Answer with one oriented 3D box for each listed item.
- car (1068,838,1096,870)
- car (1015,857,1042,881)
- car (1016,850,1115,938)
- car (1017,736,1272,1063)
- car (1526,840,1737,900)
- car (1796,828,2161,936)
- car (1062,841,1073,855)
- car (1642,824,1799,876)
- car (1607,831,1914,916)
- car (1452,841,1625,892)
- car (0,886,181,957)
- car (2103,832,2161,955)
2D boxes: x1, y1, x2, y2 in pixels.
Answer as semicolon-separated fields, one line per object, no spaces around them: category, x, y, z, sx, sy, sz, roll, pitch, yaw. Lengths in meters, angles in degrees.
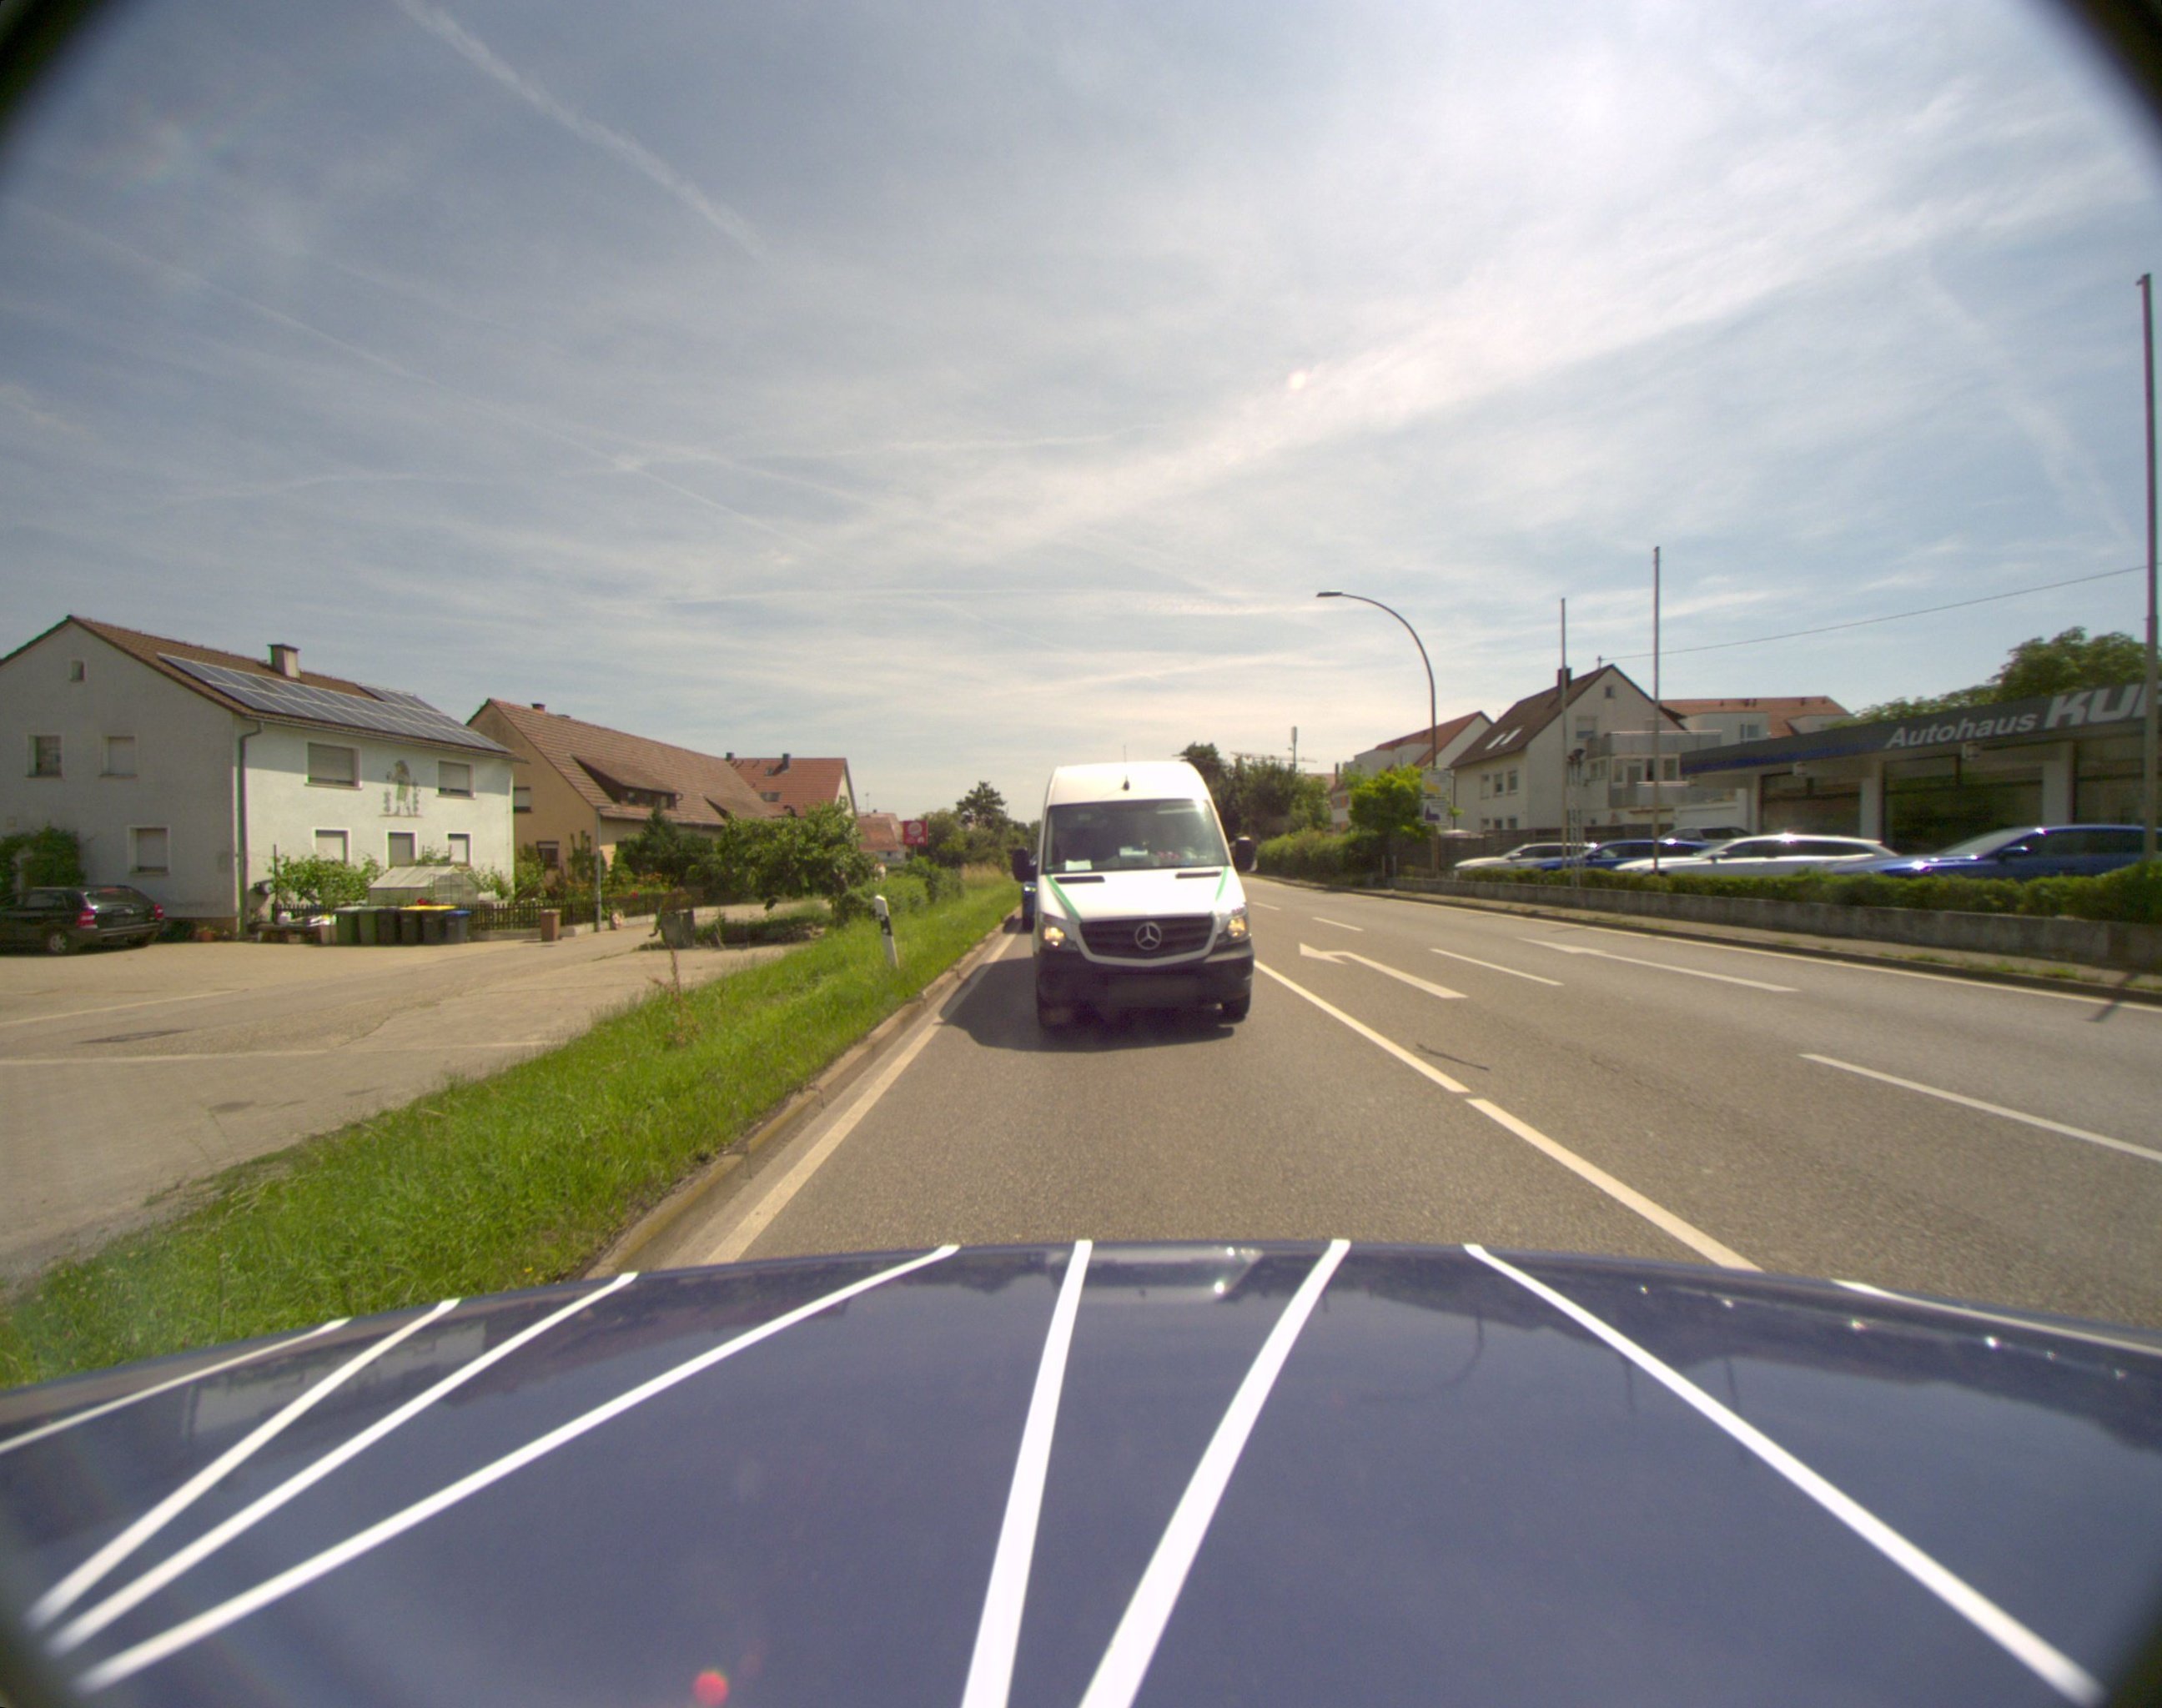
car;0.075;-0.023;41.971;1.423;1.650;3.088;-2;1;1
car;-3.660;1.042;53.238;1.636;1.476;3.551;-5;1;-2
car;-0.340;0.794;17.501;1.884;1.652;4.625;-4;0;-1
car;0.494;0.354;8.838;1.939;2.514;5.748;-2;0;0
car;14.477;0.437;20.329;4.331;1.439;1.860;-2;1;29
car;14.334;0.419;11.812;4.331;1.439;1.860;-2;1;26
car;-2.543;-1.130;146.013;1.999;2.573;3.999;-2;1;0
car;20.620;-0.138;24.782;1.807;1.456;4.585;-2;0;9
car;14.029;0.437;16.115;4.505;1.439;1.860;-4;0;30
car;14.456;0.420;24.285;4.568;1.439;1.860;-2;1;29
car;-26.860;1.751;20.112;3.957;1.683;1.844;0;1;3
car;14.513;0.396;7.842;4.332;1.439;1.902;-2;0;25
